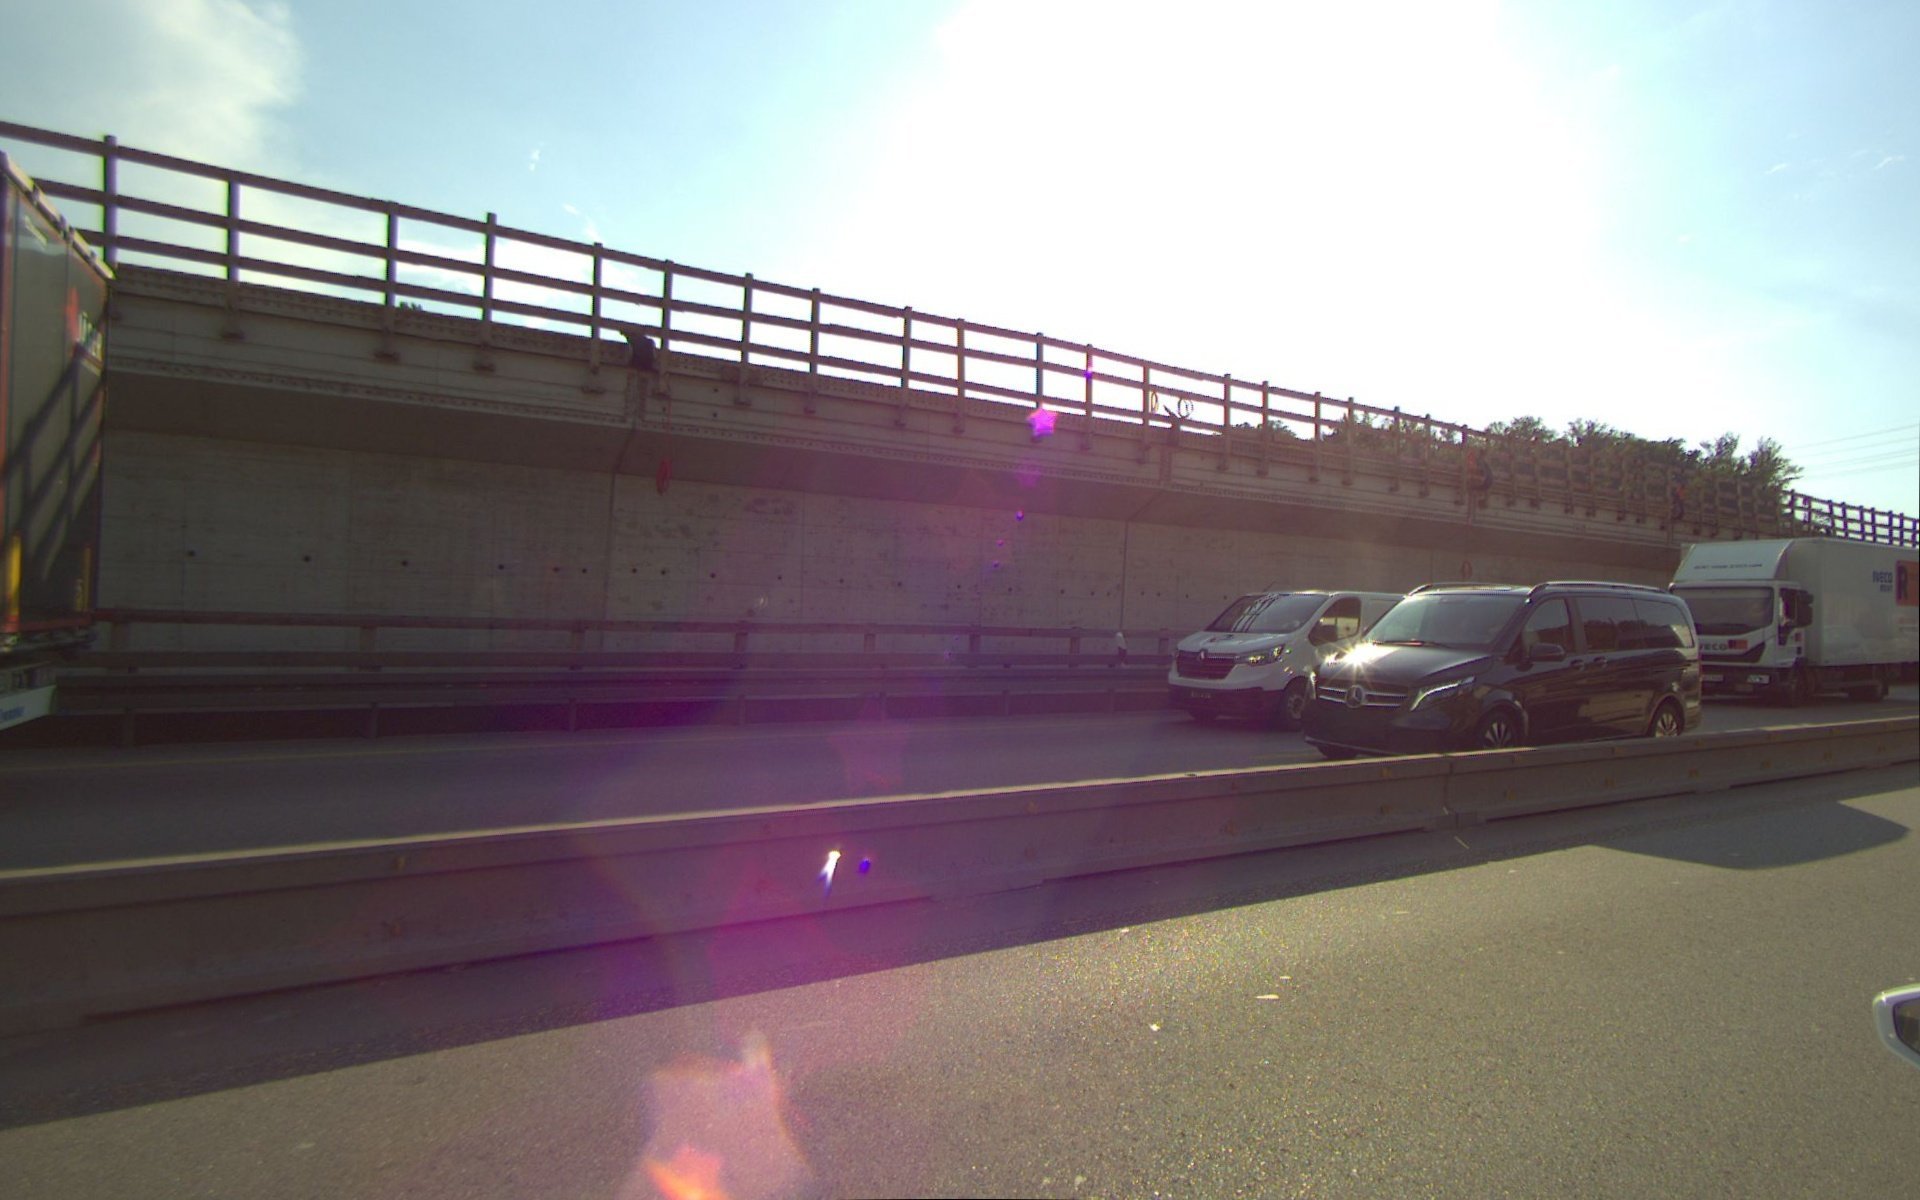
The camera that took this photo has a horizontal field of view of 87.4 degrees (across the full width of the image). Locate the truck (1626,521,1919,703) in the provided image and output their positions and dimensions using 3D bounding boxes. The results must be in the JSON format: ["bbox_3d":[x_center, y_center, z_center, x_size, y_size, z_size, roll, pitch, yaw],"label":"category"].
[{"bbox_3d":[18.346,0.442,22.345,8.049,3.469,2.701,3,-4,-31],"label":"truck"}]

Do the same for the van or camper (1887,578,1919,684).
[{"bbox_3d":[30.162,0.995,29.846,6.155,3.028,2.307,3,-2,-32],"label":"van or camper"}]

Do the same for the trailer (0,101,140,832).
[{"bbox_3d":[-12.144,-1.066,3.753,13.610,4.296,2.899,3,0,-31],"label":"trailer"}]

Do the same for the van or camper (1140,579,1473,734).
[{"bbox_3d":[5.146,0.764,14.718,4.866,1.948,1.907,2,0,-31],"label":"van or camper"}]

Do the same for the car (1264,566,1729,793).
[{"bbox_3d":[5.888,0.726,10.816,5.230,1.948,1.975,2,1,-31],"label":"car"}]
